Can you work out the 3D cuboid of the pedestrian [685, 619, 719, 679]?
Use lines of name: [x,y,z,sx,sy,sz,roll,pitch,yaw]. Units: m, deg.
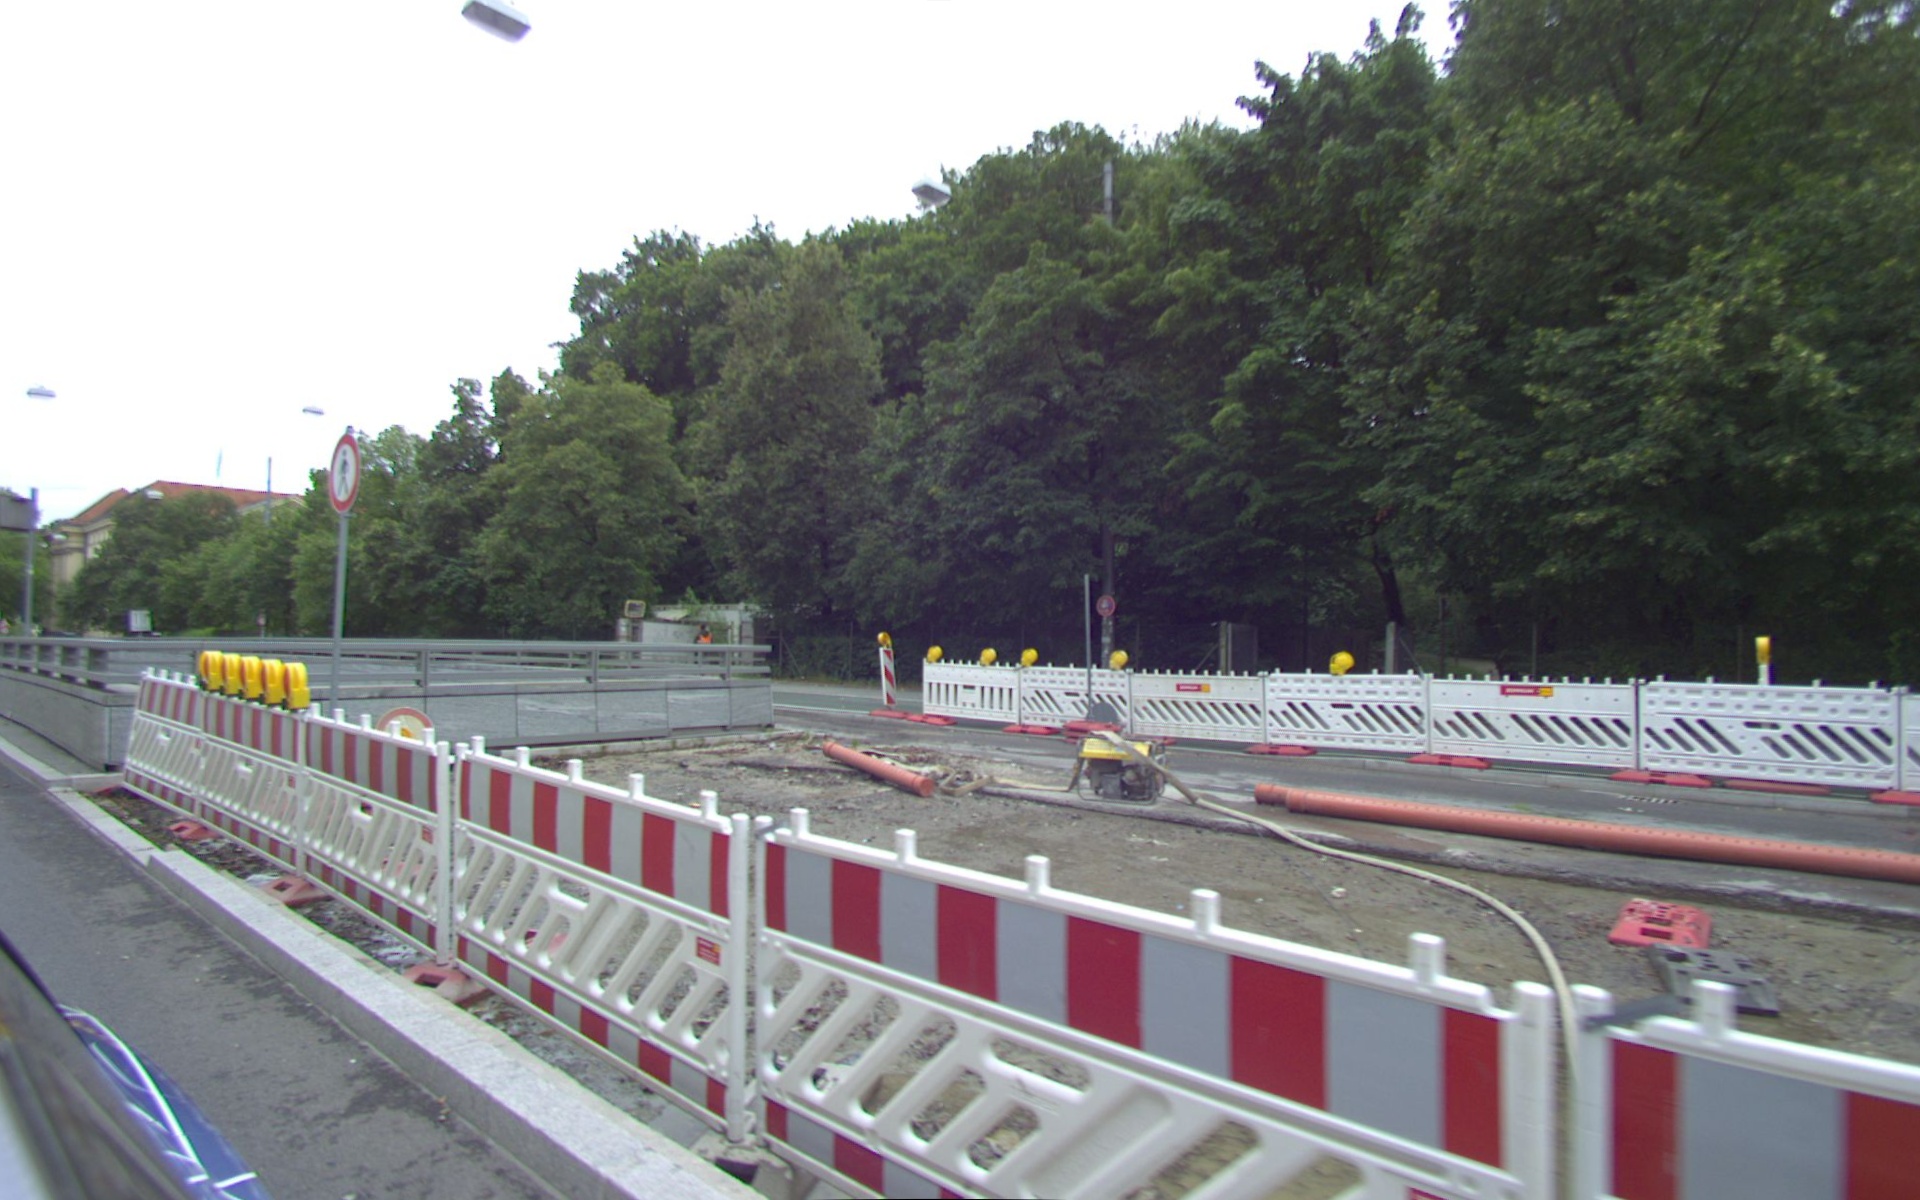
pedestrian: [-7.267,1.382,28.511,0.698,1.653,0.656,-2,-3,42]
